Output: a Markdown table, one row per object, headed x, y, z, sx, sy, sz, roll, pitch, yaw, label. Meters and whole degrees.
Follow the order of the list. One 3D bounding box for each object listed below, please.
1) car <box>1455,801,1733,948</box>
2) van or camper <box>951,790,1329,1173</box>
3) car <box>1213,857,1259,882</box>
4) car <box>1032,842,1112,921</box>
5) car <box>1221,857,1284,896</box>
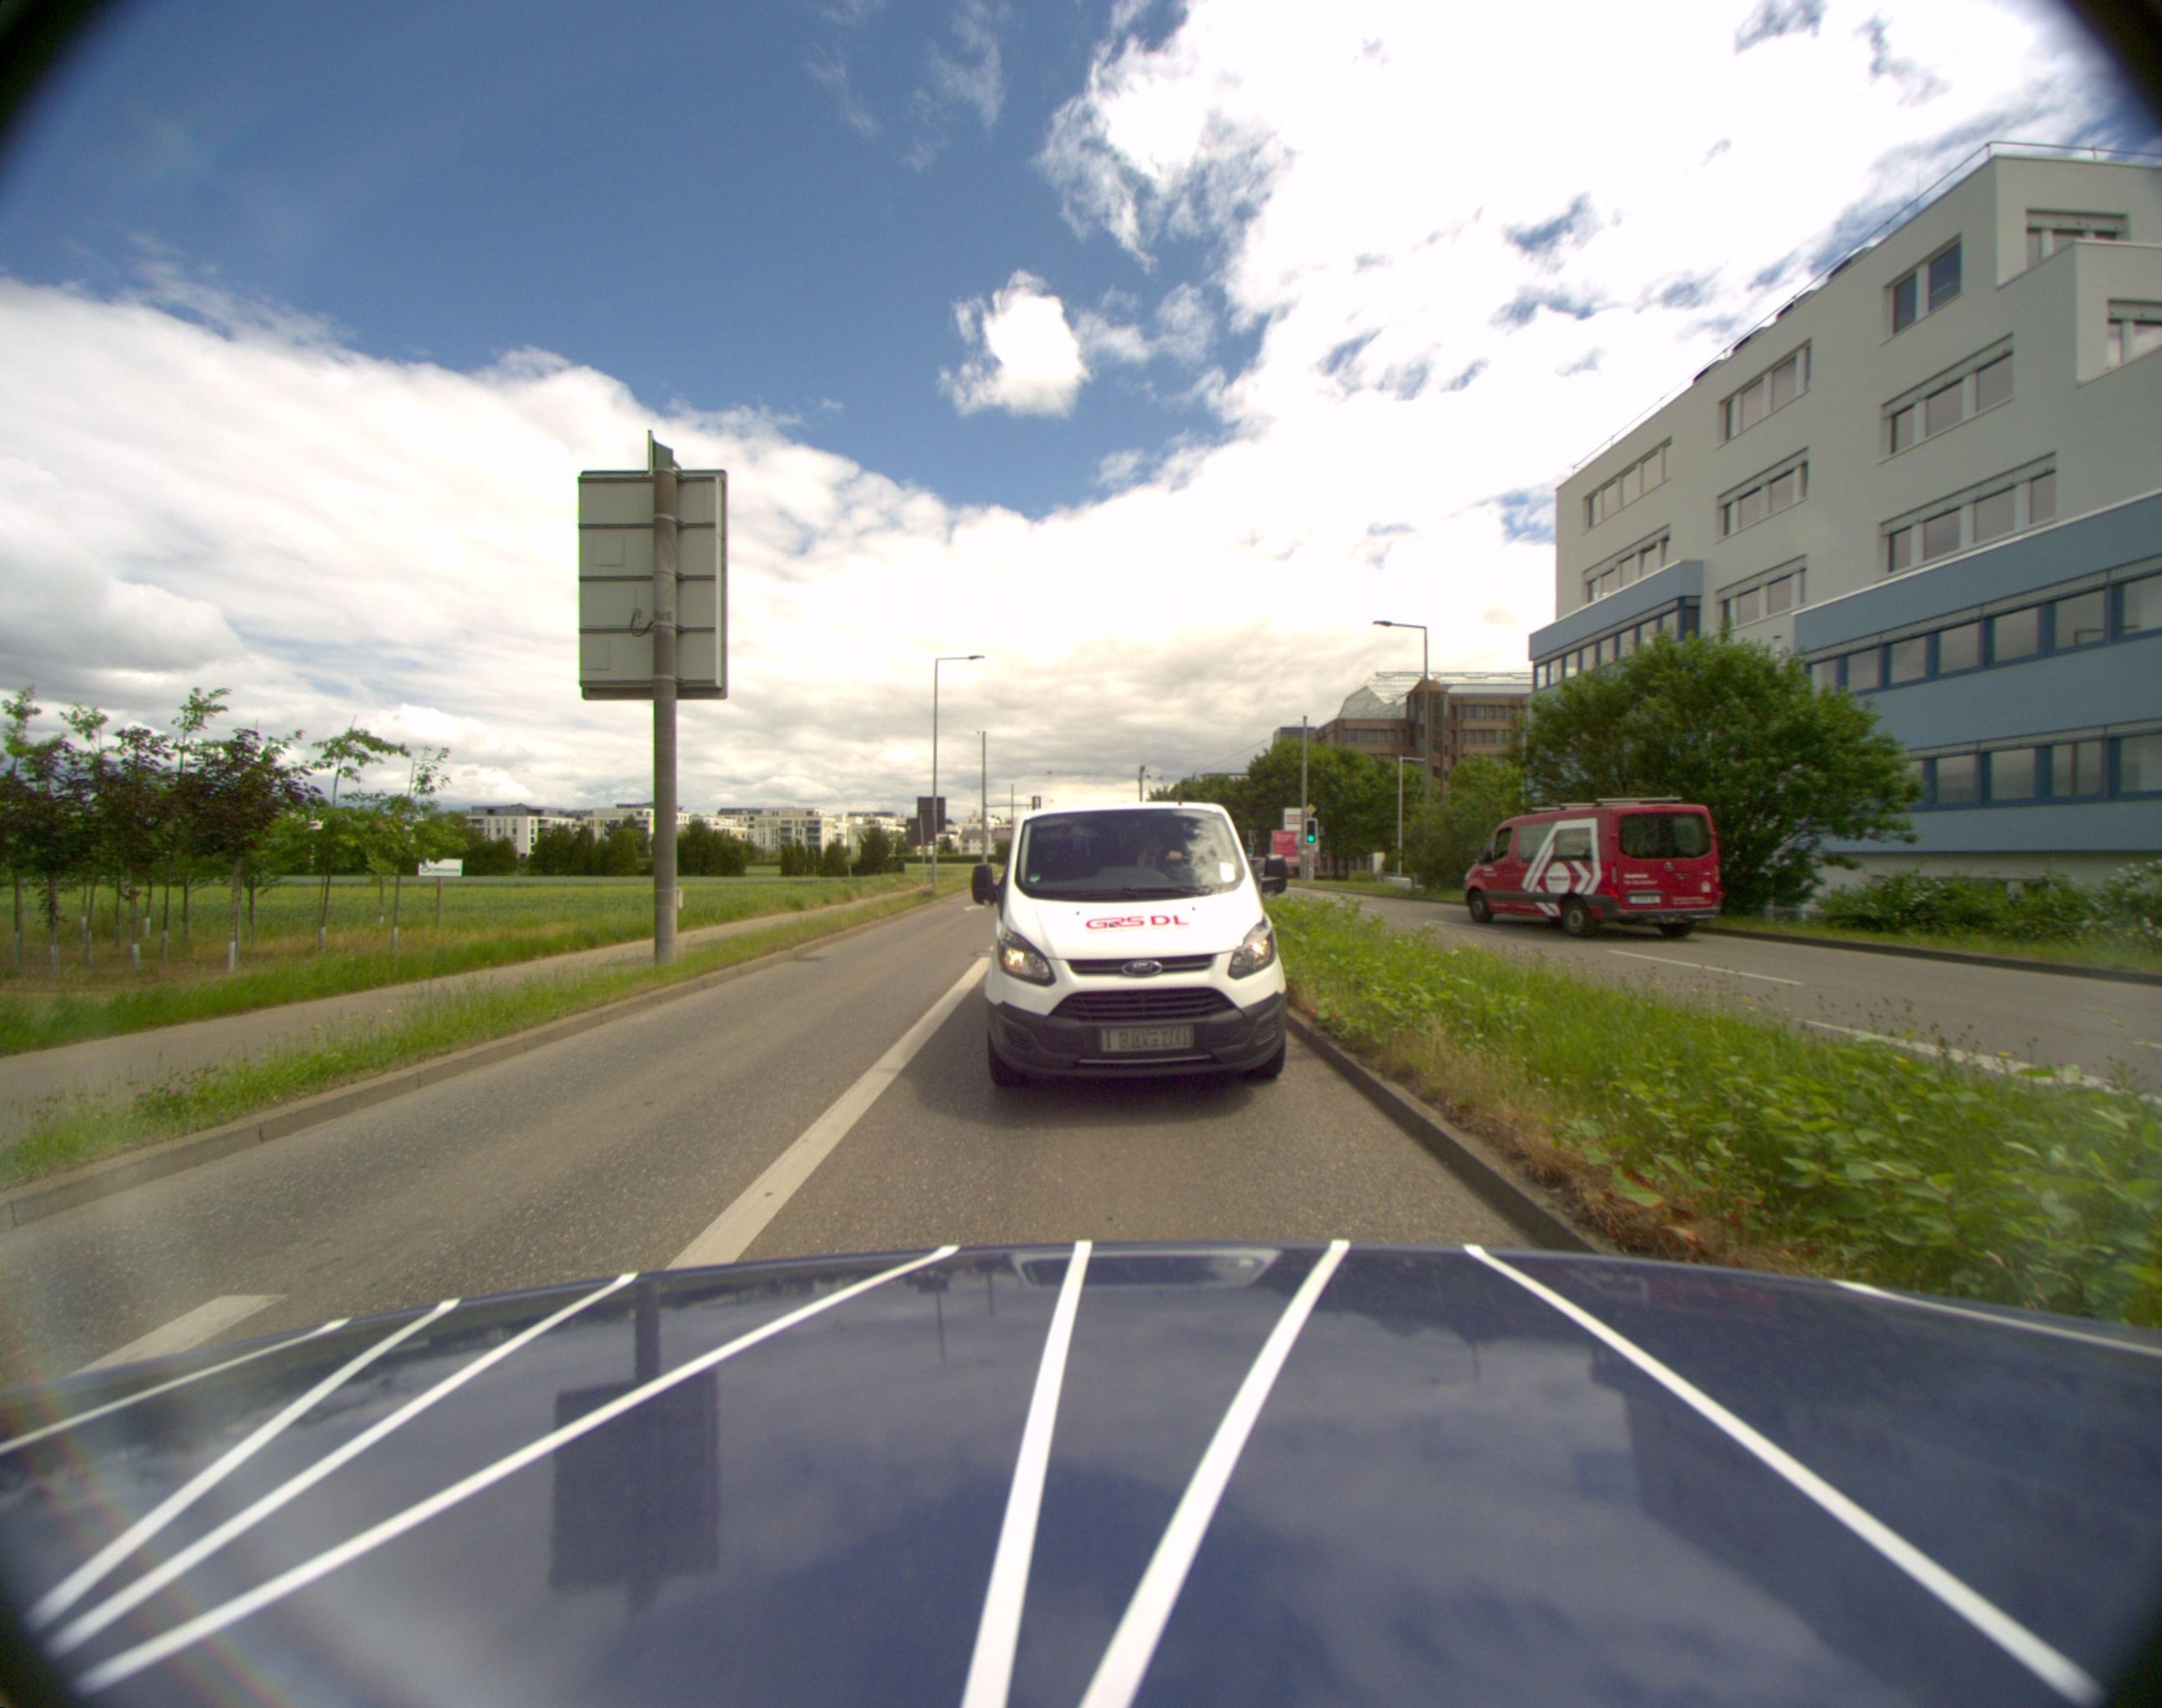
| x | y | z | sx | sy | sz | roll | pitch | yaw | label |
| --- | --- | --- | --- | --- | --- | --- | --- | --- | --- |
| 9.671 | 0.328 | 15.046 | 1.998 | 2.398 | 5.240 | 0 | 0 | 0 | car |
| 0.208 | 0.671 | 6.906 | 1.999 | 2.002 | 5.798 | 0 | 0 | -2 | van or camper |
| 9.203 | 0.880 | 45.315 | 1.937 | 1.390 | 4.000 | -1 | 0 | 0 | car |
| -0.199 | 0.696 | 21.285 | 1.998 | 2.002 | 4.000 | 0 | 0 | 1 | car |
| 7.007 | 0.861 | 31.391 | 1.683 | 1.473 | 4.000 | -1 | 0 | 0 | car |
